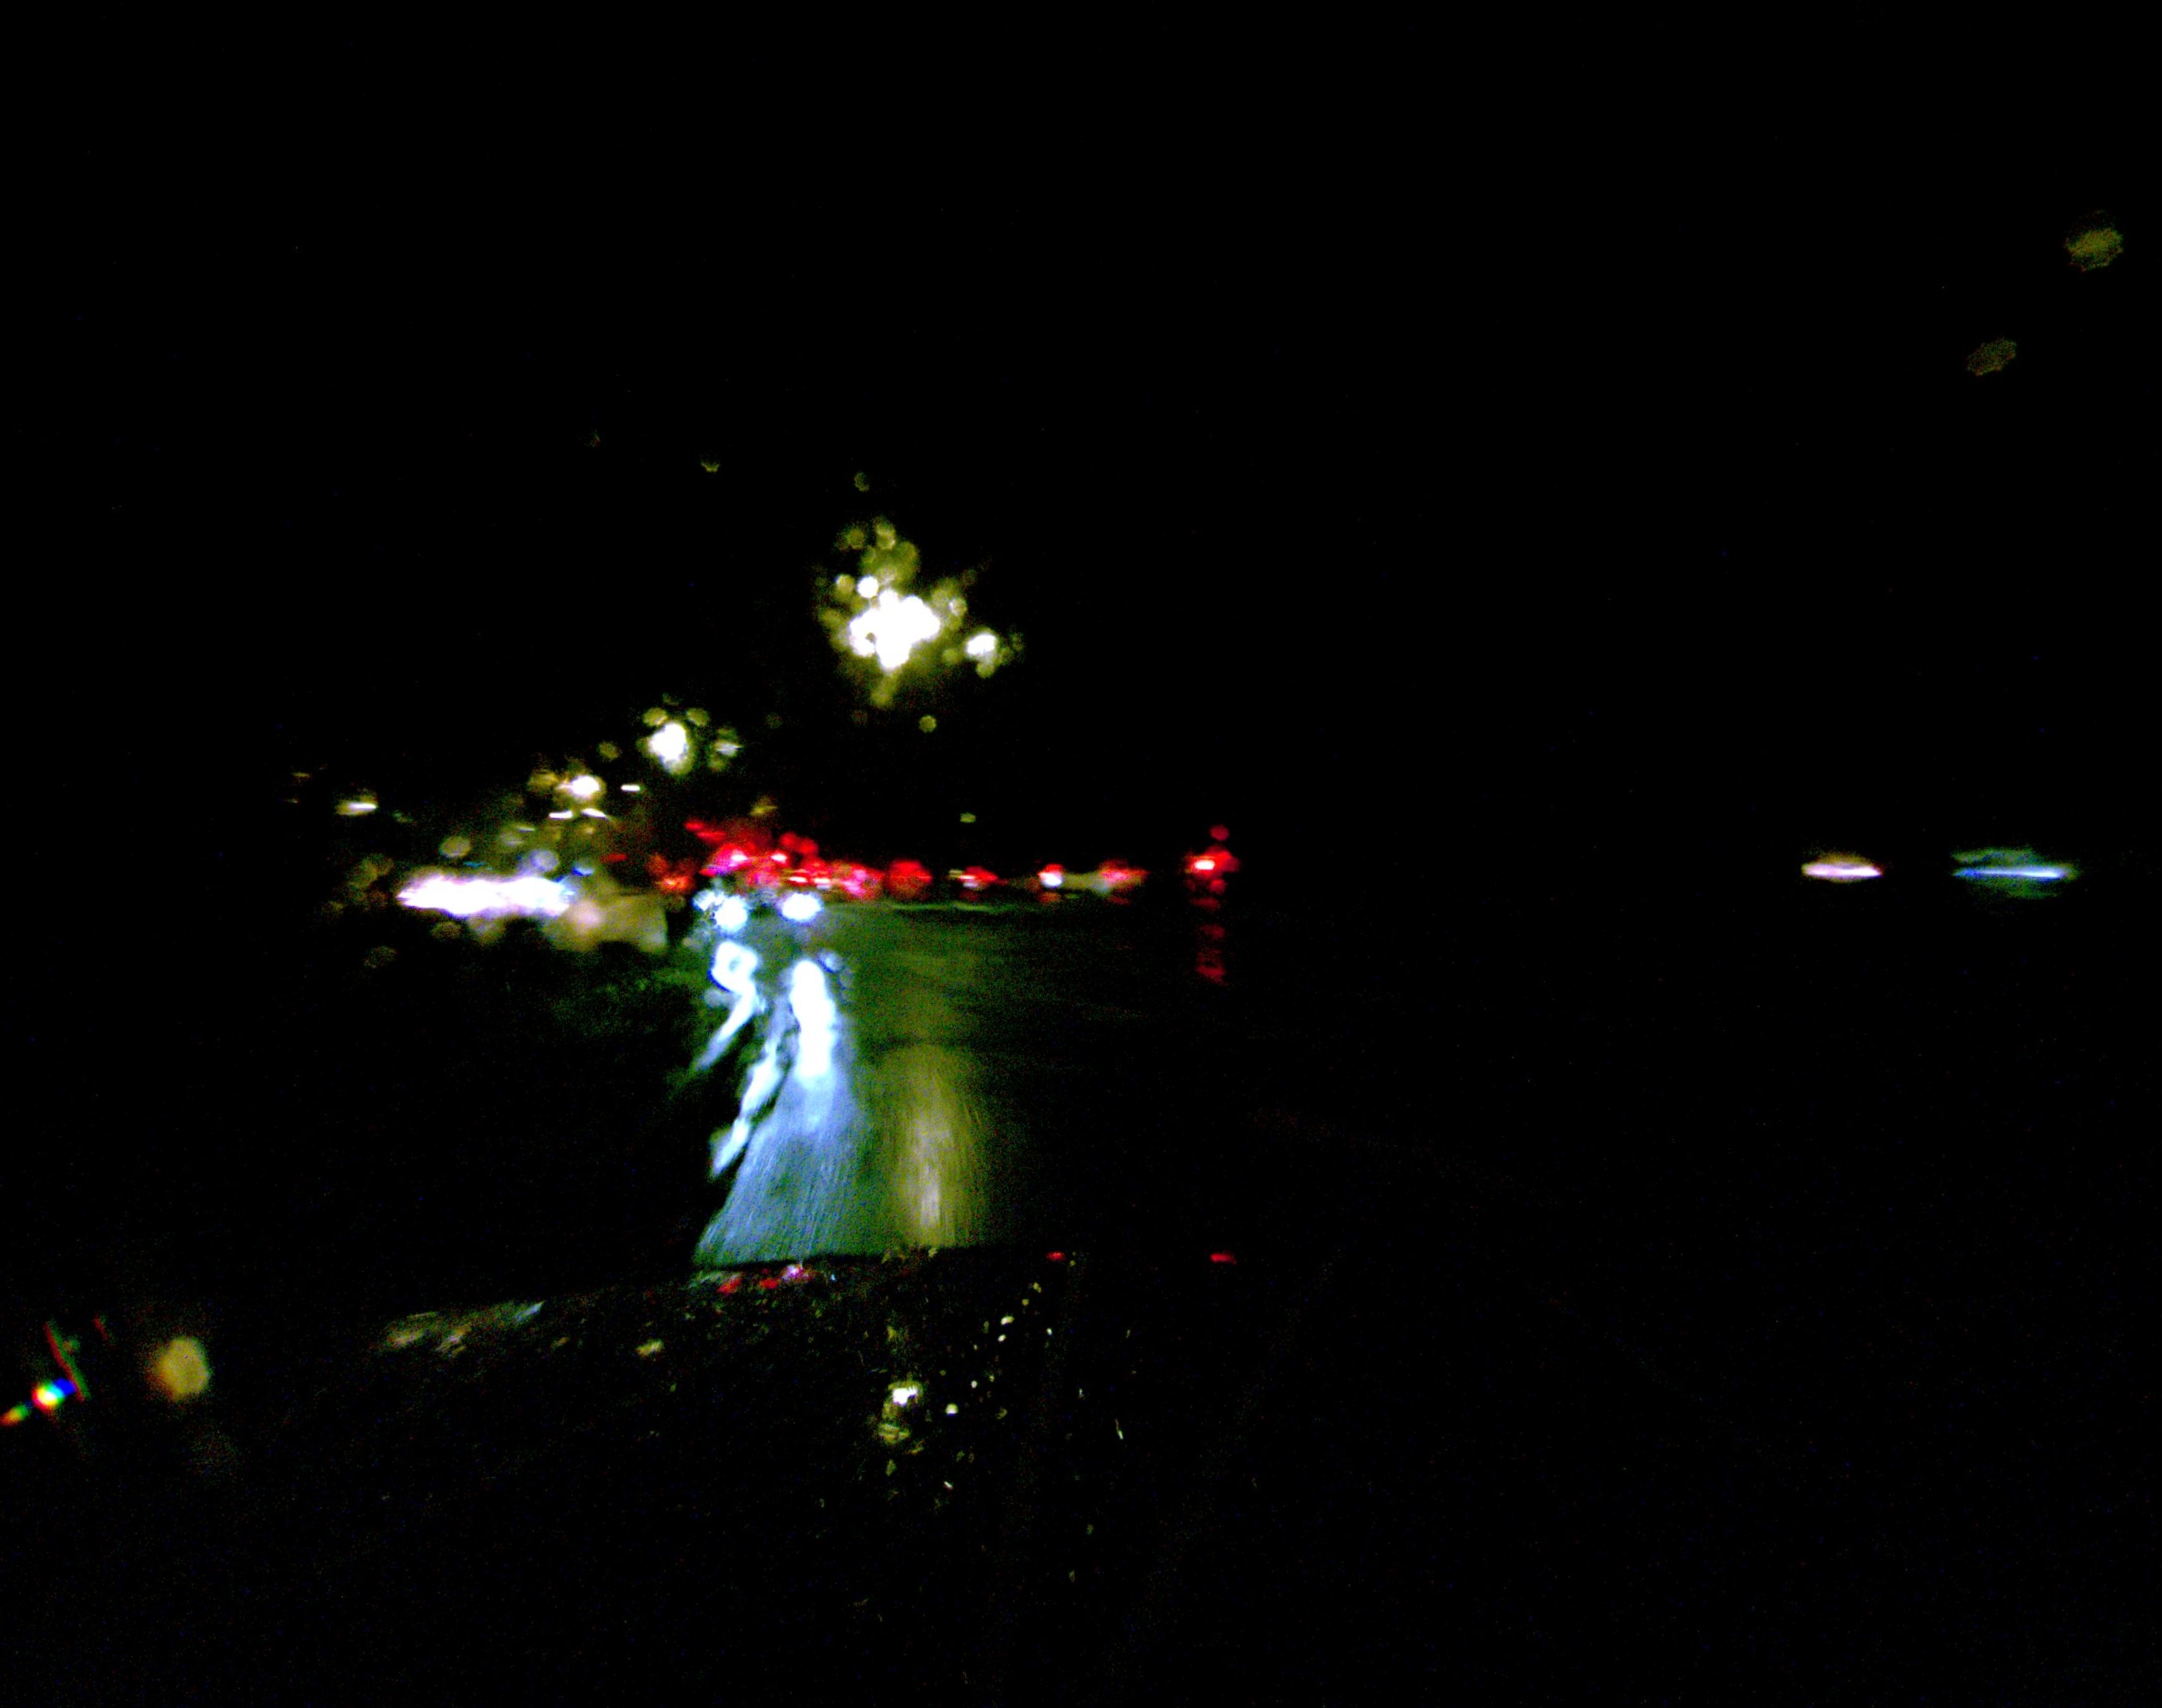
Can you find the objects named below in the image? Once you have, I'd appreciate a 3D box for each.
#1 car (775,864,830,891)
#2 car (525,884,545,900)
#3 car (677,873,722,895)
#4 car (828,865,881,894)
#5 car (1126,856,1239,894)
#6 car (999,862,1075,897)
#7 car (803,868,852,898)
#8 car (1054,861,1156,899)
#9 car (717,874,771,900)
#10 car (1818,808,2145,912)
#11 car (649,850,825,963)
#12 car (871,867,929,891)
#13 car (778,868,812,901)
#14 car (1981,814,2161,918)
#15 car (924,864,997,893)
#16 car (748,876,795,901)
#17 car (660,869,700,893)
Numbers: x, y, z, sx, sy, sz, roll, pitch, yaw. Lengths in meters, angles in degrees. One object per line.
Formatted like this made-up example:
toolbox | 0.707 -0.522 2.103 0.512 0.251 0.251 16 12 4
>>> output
car | -18.555 1.521 50.518 1.808 1.656 4.475 -2 1 -43
car | -67.980 4.705 94.610 1.670 1.843 4.135 -3 2 -40
car | -27.681 2.160 55.065 1.786 1.475 4.400 -3 0 -42
car | -15.694 1.722 52.523 1.769 1.837 4.113 -2 1 -43
car | 3.536 0.767 26.825 3.605 1.196 1.652 -3 0 44
car | -2.269 1.309 38.281 1.501 1.593 4.135 -3 0 -43
car | -19.372 2.245 57.948 1.808 1.787 4.242 -2 -5 -43
car | 1.011 1.188 34.123 1.893 1.521 4.420 -2 0 -45
car | -22.088 2.135 49.675 1.822 1.568 4.294 -1 -1 -44
car | 18.433 0.160 15.881 1.771 1.881 4.194 -2 0 -43
car | -7.337 1.035 15.944 2.008 1.914 4.358 -5 1 -42
car | -11.377 1.511 47.650 1.769 1.369 4.028 -2 1 -43
car | -25.280 2.641 67.358 2.257 2.694 5.601 -1 1 -15
car | 17.572 0.156 12.032 1.791 1.599 4.232 -2 0 -41
car | -6.880 1.357 43.088 1.862 1.529 4.520 2 -2 -43
car | -22.852 2.475 56.025 1.808 1.656 3.965 -2 1 -43
car | -31.494 2.126 59.633 1.769 1.715 3.891 -3 0 -43
